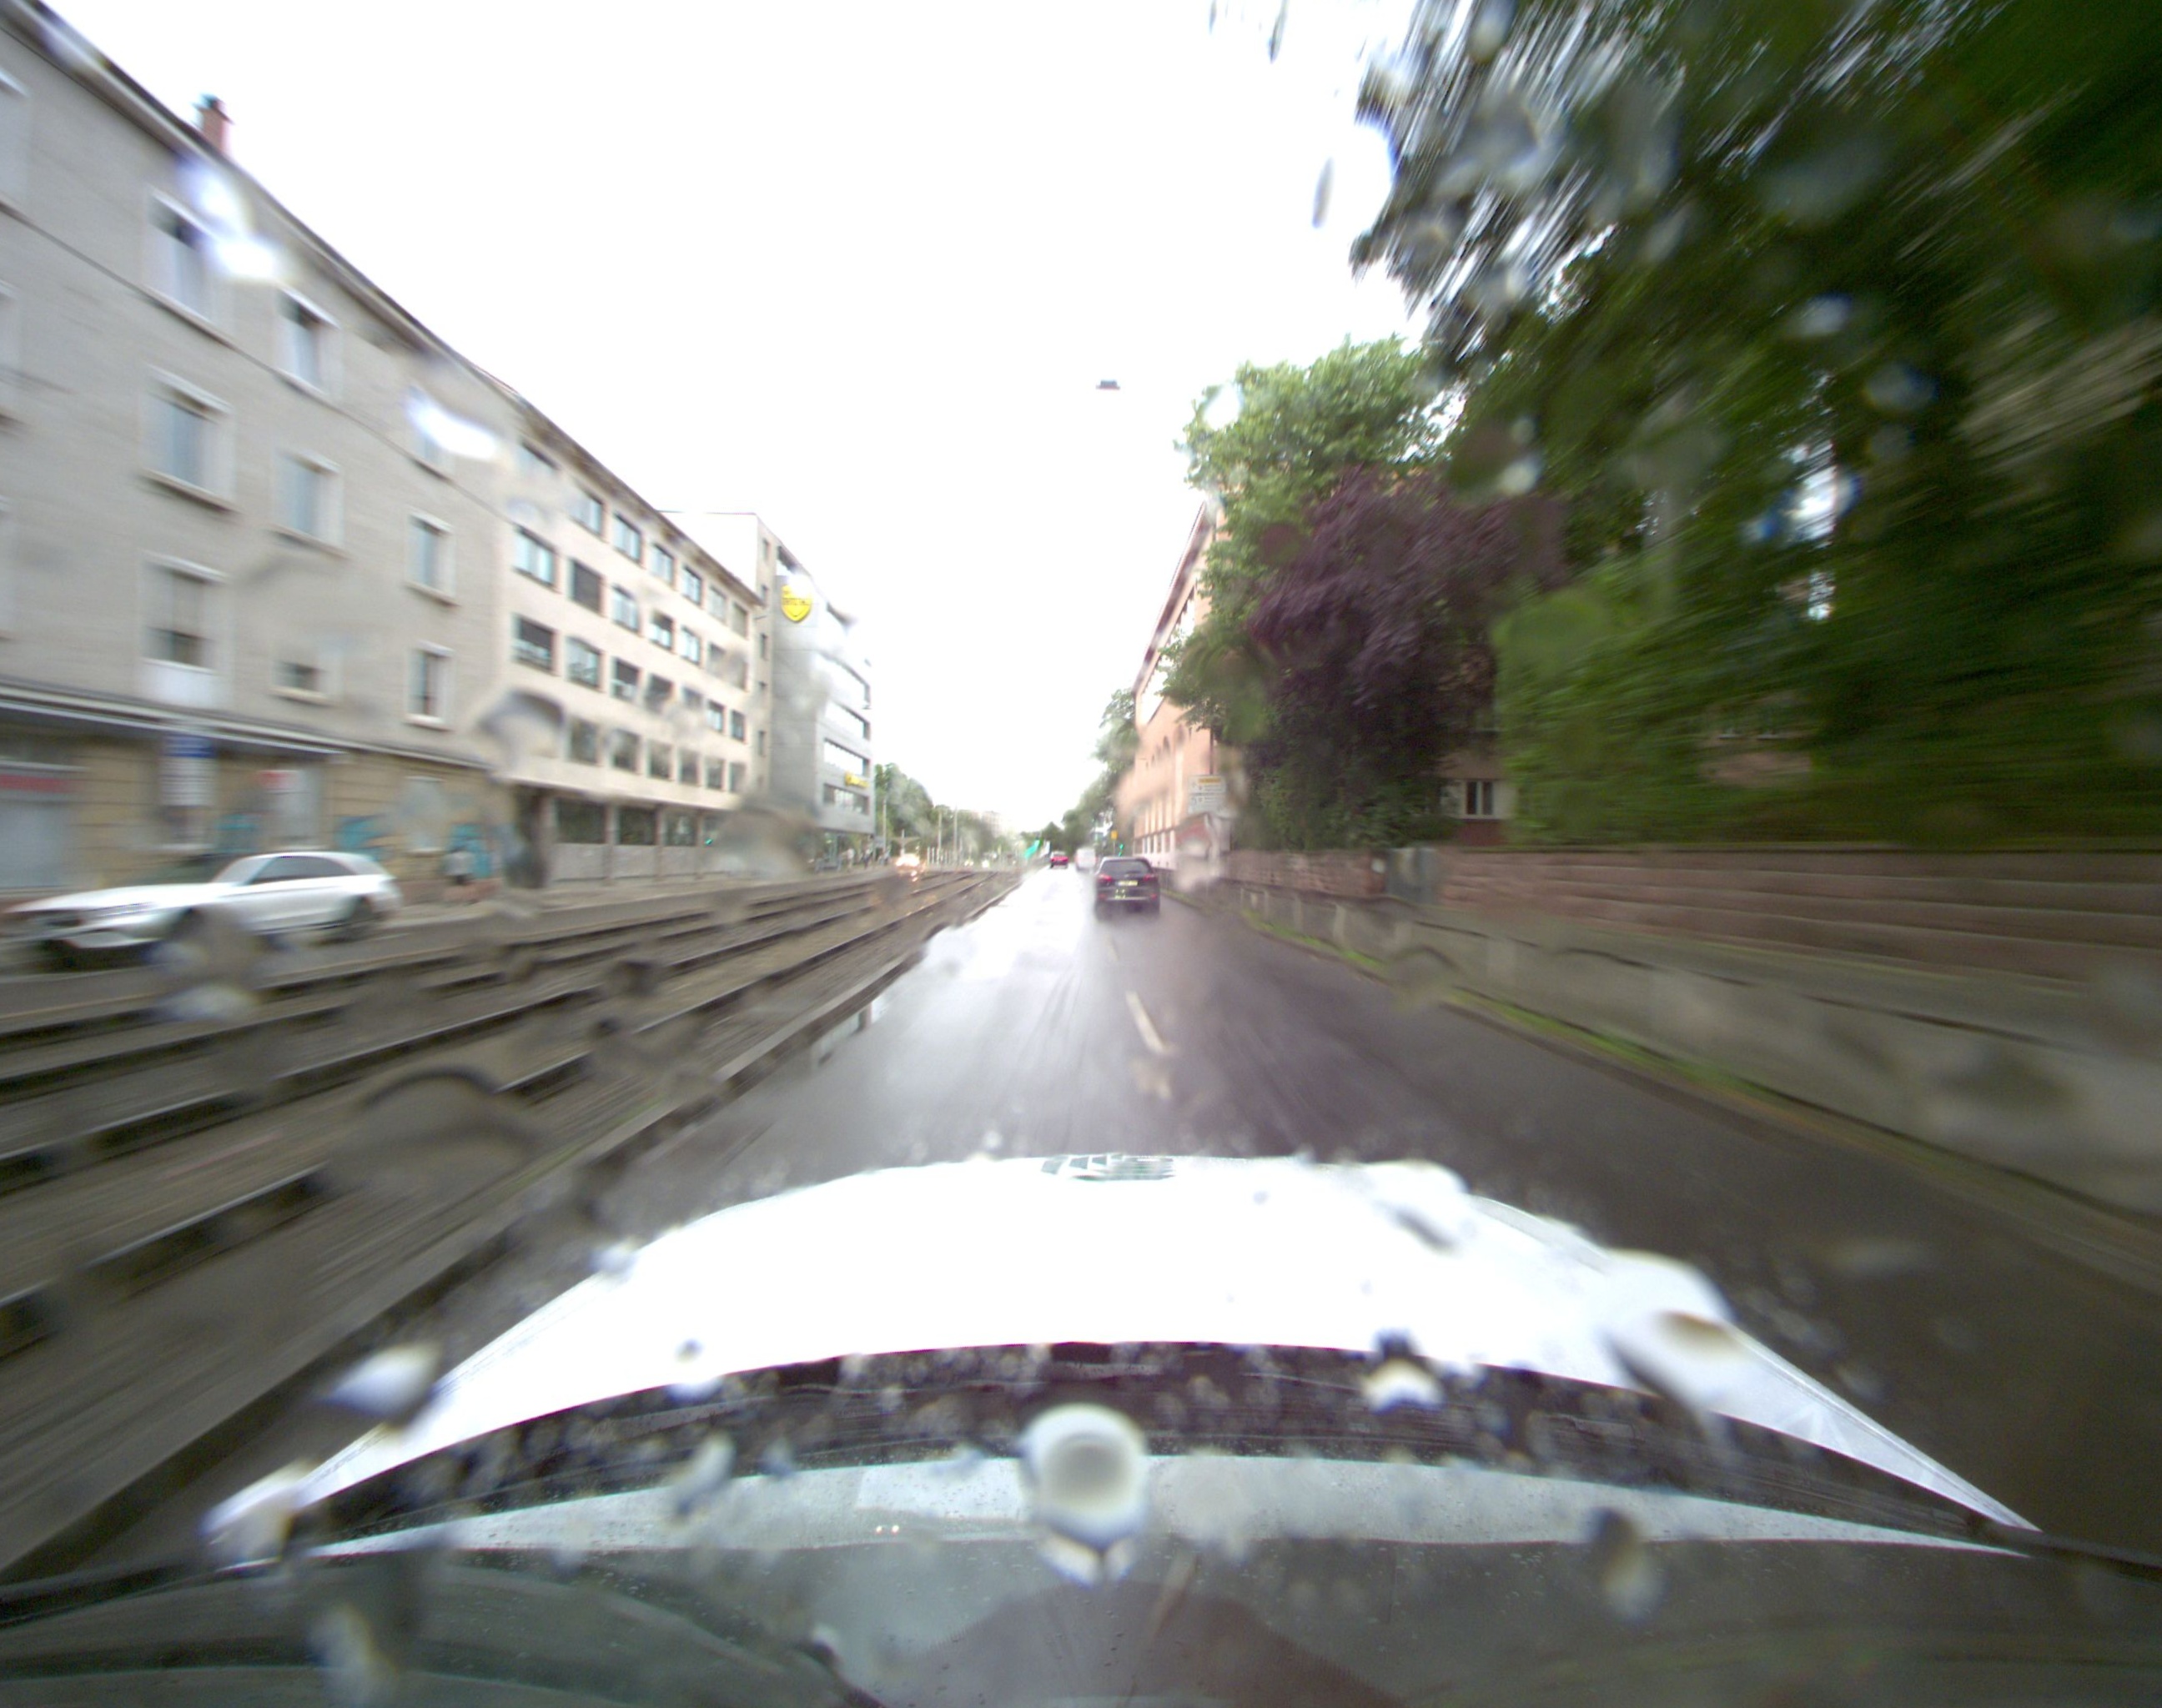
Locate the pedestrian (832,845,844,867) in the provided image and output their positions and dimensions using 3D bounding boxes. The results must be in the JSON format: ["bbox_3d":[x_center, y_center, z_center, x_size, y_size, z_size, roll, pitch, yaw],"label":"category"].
[{"bbox_3d":[-18.121,0.140,60.759,0.582,1.594,0.638,2,-1,15],"label":"pedestrian"}]

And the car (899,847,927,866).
[{"bbox_3d":[-15.549,0.221,75.428,1.936,1.536,4.342,-3,0,-5],"label":"car"}]

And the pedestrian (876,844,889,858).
[{"bbox_3d":[-23.321,-0.299,95.703,0.902,1.594,1.009,2,-1,39],"label":"pedestrian"}]

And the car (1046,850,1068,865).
[{"bbox_3d":[-2.367,0.344,82.250,2.092,1.506,4.731,-1,0,0],"label":"car"}]

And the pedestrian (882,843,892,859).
[{"bbox_3d":[-23.685,-0.377,99.346,1.003,1.863,0.907,2,-1,-20],"label":"pedestrian"}]

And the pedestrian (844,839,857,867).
[{"bbox_3d":[-17.285,-0.070,60.957,0.666,2.014,0.610,3,-1,-40],"label":"pedestrian"}]

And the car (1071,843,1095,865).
[{"bbox_3d":[0.209,-0.045,71.338,2.029,1.840,4.392,1,0,1],"label":"car"}]

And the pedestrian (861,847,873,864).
[{"bbox_3d":[-21.040,0.144,79.937,0.969,1.594,0.583,2,-1,-29],"label":"pedestrian"}]

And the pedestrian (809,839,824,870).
[{"bbox_3d":[-17.592,0.043,54.234,0.659,2.014,0.810,2,-1,-1],"label":"pedestrian"}]

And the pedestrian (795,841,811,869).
[{"bbox_3d":[-18.447,0.062,54.119,0.659,1.815,0.973,2,-1,-1],"label":"pedestrian"}]

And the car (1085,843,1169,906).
[{"bbox_3d":[1.187,0.512,22.916,2.030,1.584,4.390,1,0,-1],"label":"car"}]

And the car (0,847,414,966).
[{"bbox_3d":[-13.999,0.710,13.491,1.988,1.536,4.746,-3,0,-2],"label":"car"}]

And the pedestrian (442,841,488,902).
[{"bbox_3d":[-16.604,0.463,21.965,0.545,1.612,0.799,3,0,1],"label":"pedestrian"}]
